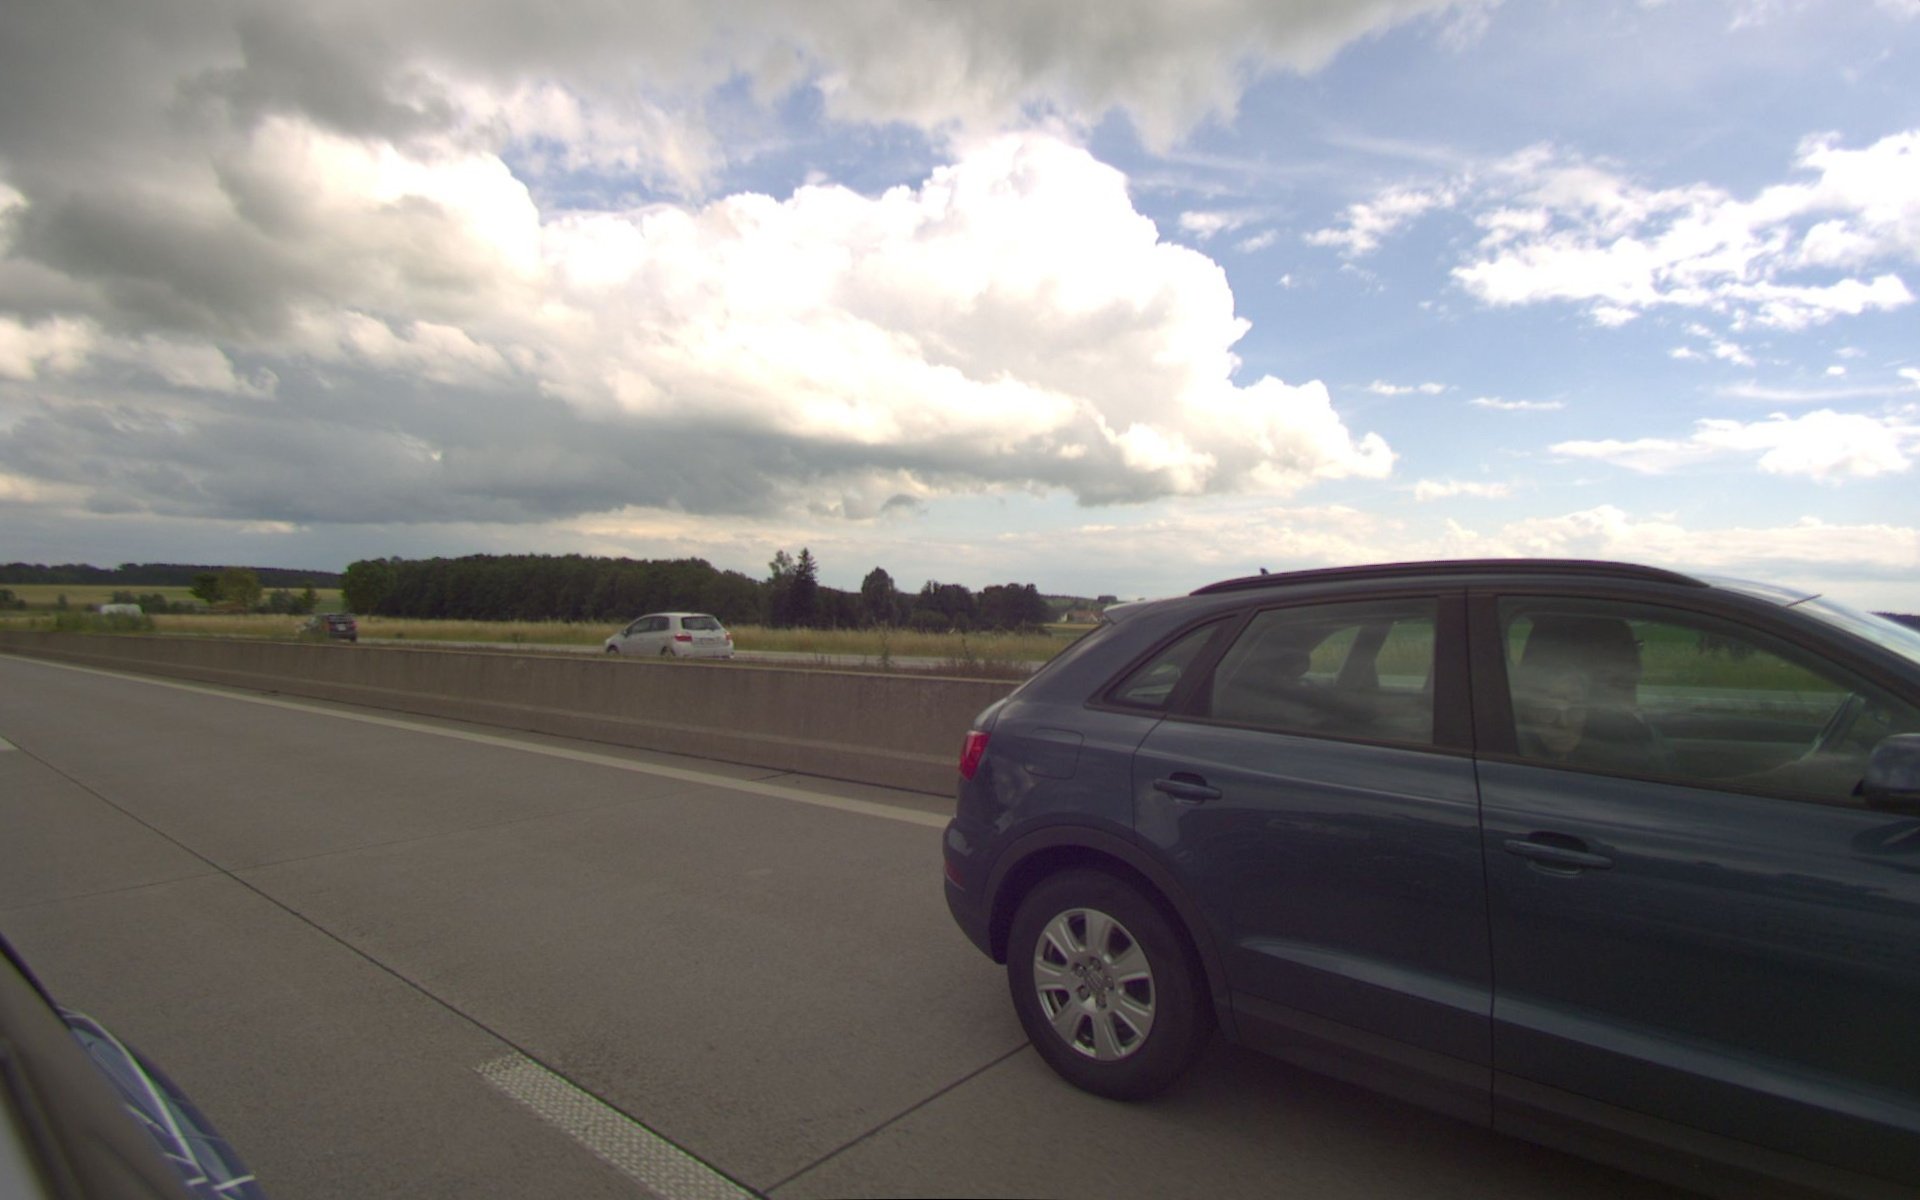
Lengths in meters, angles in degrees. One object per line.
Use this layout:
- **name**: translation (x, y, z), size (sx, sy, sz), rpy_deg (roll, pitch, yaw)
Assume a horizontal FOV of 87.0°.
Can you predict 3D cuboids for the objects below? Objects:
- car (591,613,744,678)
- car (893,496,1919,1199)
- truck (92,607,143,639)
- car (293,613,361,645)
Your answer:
- **car**: translation (-7.831, 1.133, 26.894), size (4.515, 1.518, 1.760), rpy_deg (0, 0, 41)
- **car**: translation (2.323, 0.611, 2.424), size (5.152, 1.608, 1.775), rpy_deg (-1, 0, 40)
- **truck**: translation (-72.337, 1.932, 86.808), size (7.443, 2.586, 2.123), rpy_deg (0, 0, 40)
- **car**: translation (-34.431, 1.561, 54.999), size (4.941, 1.653, 1.731), rpy_deg (-1, 0, 41)
